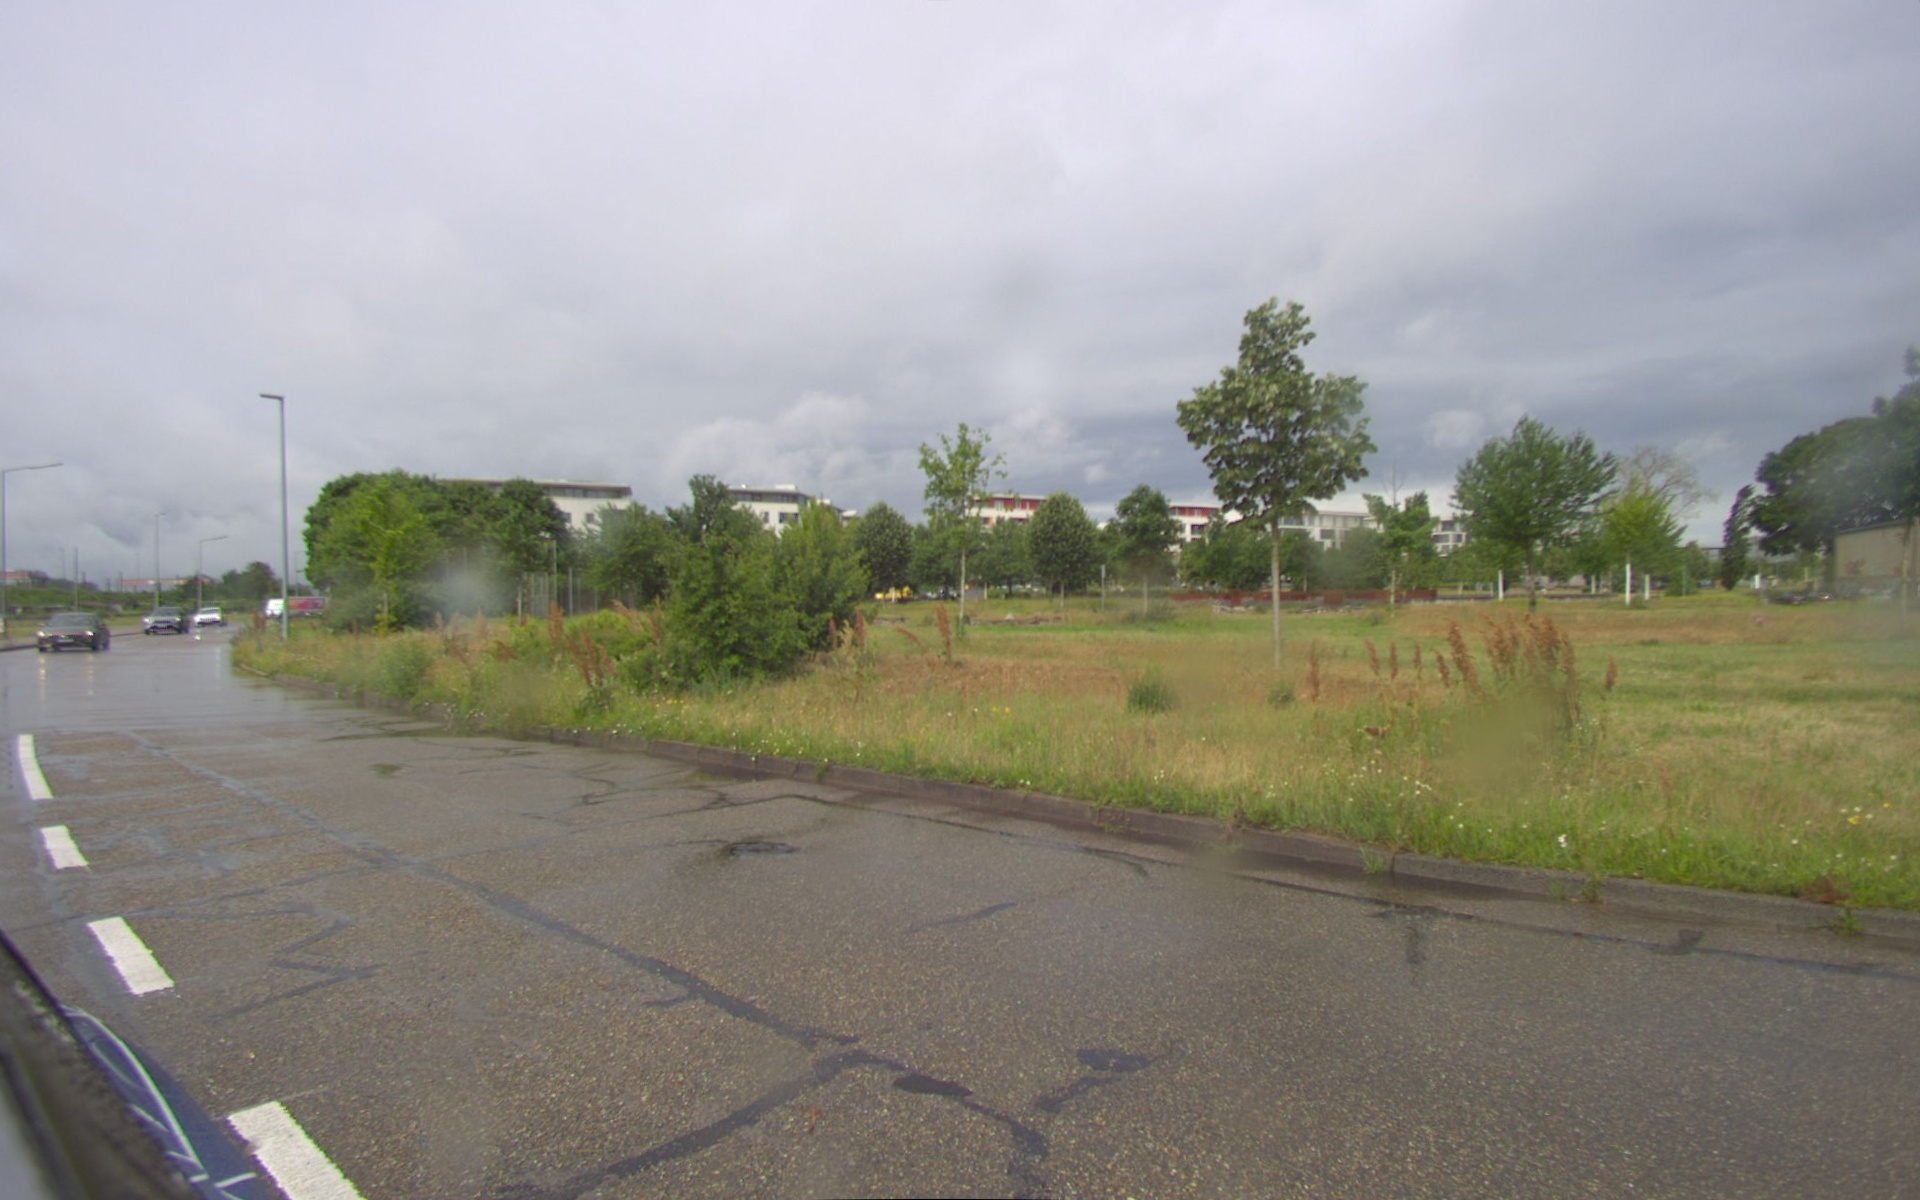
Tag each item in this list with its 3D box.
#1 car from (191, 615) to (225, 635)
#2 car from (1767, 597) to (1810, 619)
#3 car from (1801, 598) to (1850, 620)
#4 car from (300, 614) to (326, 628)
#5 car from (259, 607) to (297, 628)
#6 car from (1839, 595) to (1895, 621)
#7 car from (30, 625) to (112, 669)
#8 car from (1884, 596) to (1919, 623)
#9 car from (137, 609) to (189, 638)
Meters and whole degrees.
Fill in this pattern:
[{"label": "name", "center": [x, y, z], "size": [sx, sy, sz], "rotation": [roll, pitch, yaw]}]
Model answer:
[{"label": "car", "center": [-61.285, 2.026, 82.511], "size": [1.812, 1.530, 4.370], "rotation": [-1, 0, -32]}, {"label": "car", "center": [69.394, 0.672, 84.834], "size": [1.991, 1.719, 3.962], "rotation": [-1, 0, 28]}, {"label": "car", "center": [65.322, 0.691, 76.453], "size": [1.991, 1.564, 3.962], "rotation": [-1, 0, 28]}, {"label": "car", "center": [-77.534, 2.525, 121.291], "size": [1.811, 1.530, 4.371], "rotation": [-1, 0, -21]}, {"label": "car", "center": [-81.302, 2.069, 120.772], "size": [2.063, 2.491, 5.965], "rotation": [0, 0, -17]}, {"label": "car", "center": [63.010, 0.547, 70.372], "size": [1.991, 1.741, 3.962], "rotation": [-1, 0, 28]}, {"label": "car", "center": [-34.859, 1.799, 39.804], "size": [1.844, 1.530, 4.369], "rotation": [0, -1, -34]}, {"label": "car", "center": [59.966, 0.573, 63.551], "size": [1.640, 1.652, 3.967], "rotation": [-1, 0, 24]}, {"label": "car", "center": [-49.453, 1.416, 62.860], "size": [1.977, 1.718, 4.342], "rotation": [-1, 0, -31]}]
